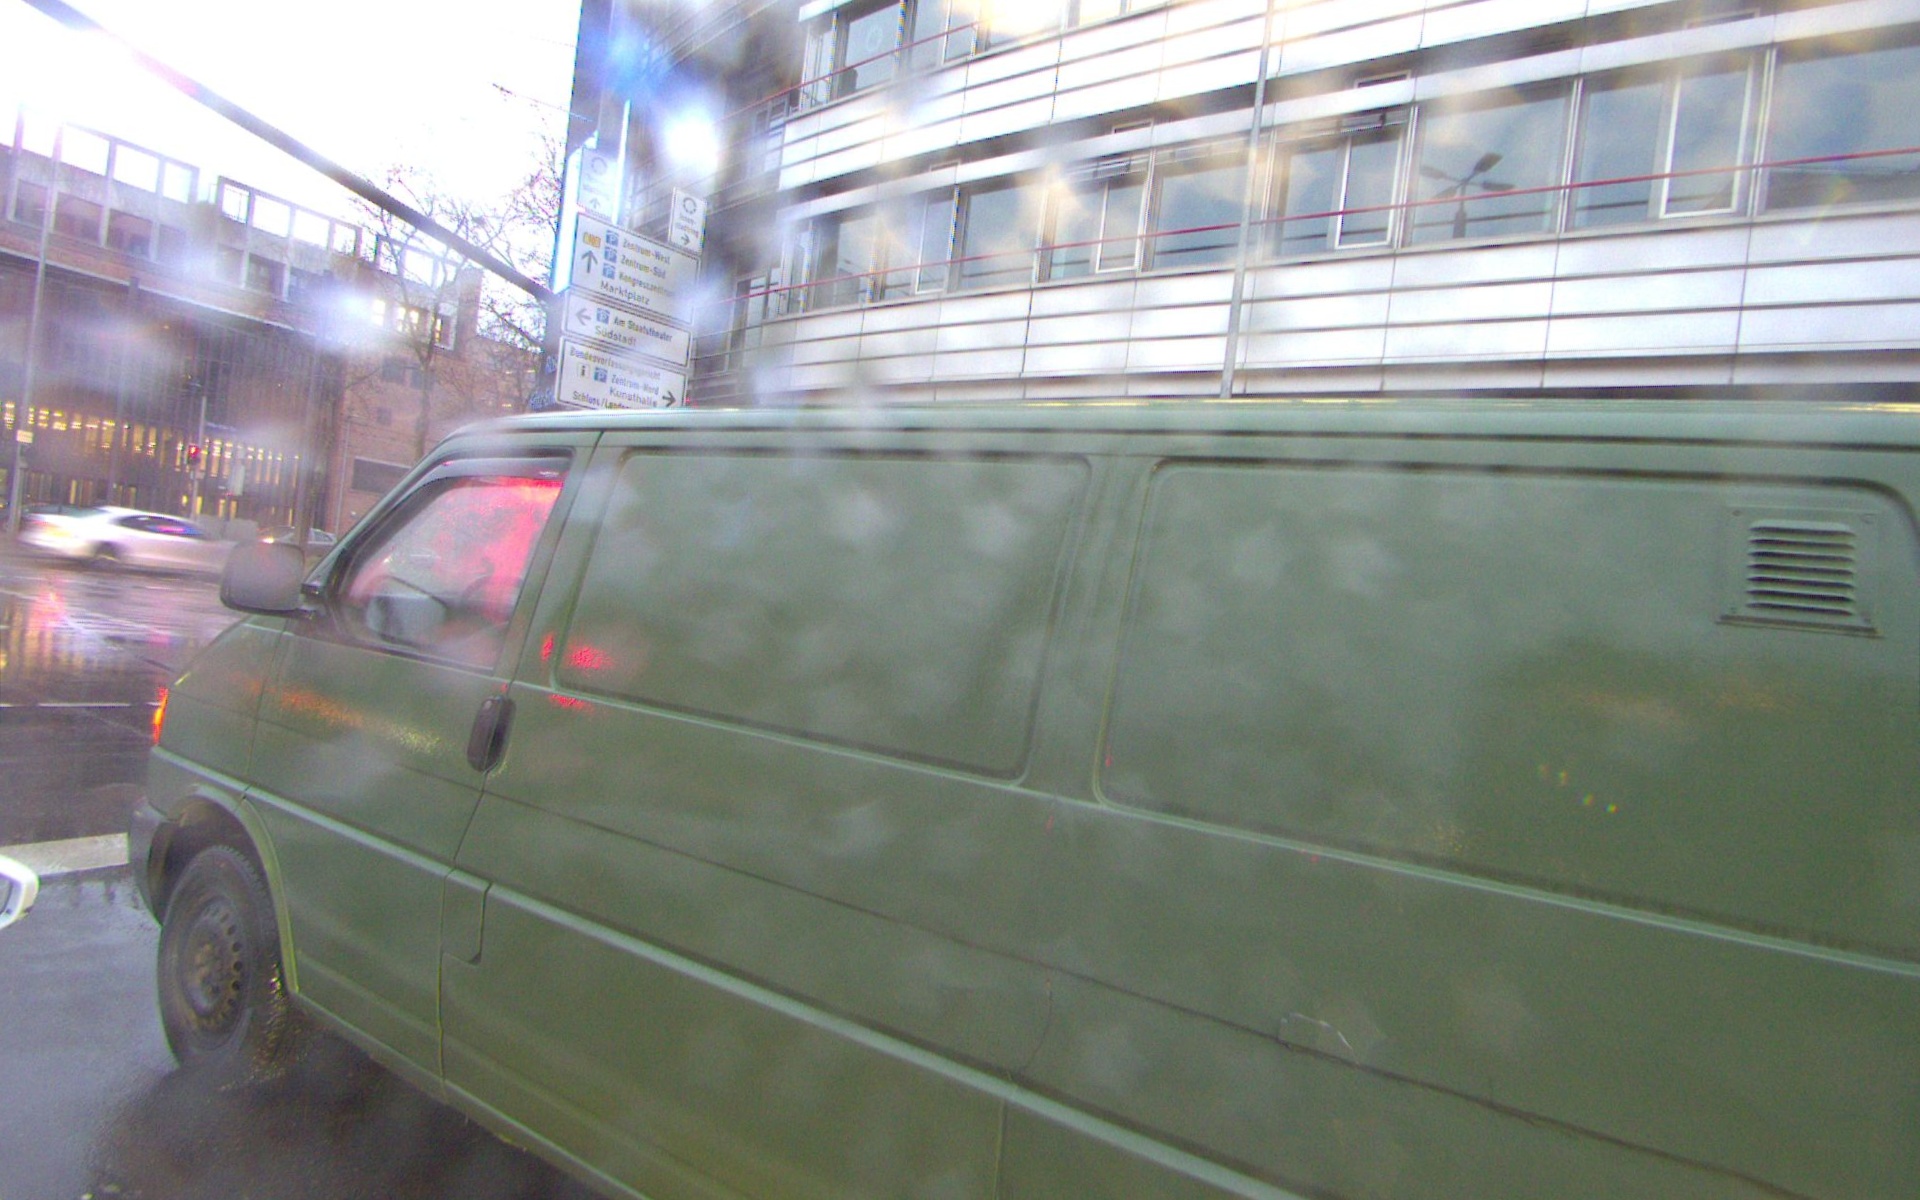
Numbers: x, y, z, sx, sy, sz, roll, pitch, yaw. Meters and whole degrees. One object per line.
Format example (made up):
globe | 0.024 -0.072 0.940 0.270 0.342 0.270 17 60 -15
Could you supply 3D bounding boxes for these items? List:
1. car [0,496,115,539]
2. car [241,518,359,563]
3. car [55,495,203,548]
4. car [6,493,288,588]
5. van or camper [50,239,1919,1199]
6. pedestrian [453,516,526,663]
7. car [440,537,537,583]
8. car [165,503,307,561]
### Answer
car | -39.214 -3.565 43.213 1.965 1.326 3.994 7 0 28
car | -29.640 -2.659 45.310 1.814 1.304 3.997 11 1 26
car | -32.444 -3.035 39.388 1.814 1.278 3.997 11 1 26
car | -19.329 -1.360 24.165 2.018 1.580 4.820 7 0 34
van or camper | -0.331 0.529 2.634 4.345 1.929 1.760 7 -1 32
pedestrian | -7.373 -0.161 15.767 0.609 2.210 0.576 6 0 26
car | -23.568 -1.980 50.413 1.814 1.621 3.997 11 1 26
car | -28.290 -2.609 39.442 1.814 1.523 3.997 11 1 26
